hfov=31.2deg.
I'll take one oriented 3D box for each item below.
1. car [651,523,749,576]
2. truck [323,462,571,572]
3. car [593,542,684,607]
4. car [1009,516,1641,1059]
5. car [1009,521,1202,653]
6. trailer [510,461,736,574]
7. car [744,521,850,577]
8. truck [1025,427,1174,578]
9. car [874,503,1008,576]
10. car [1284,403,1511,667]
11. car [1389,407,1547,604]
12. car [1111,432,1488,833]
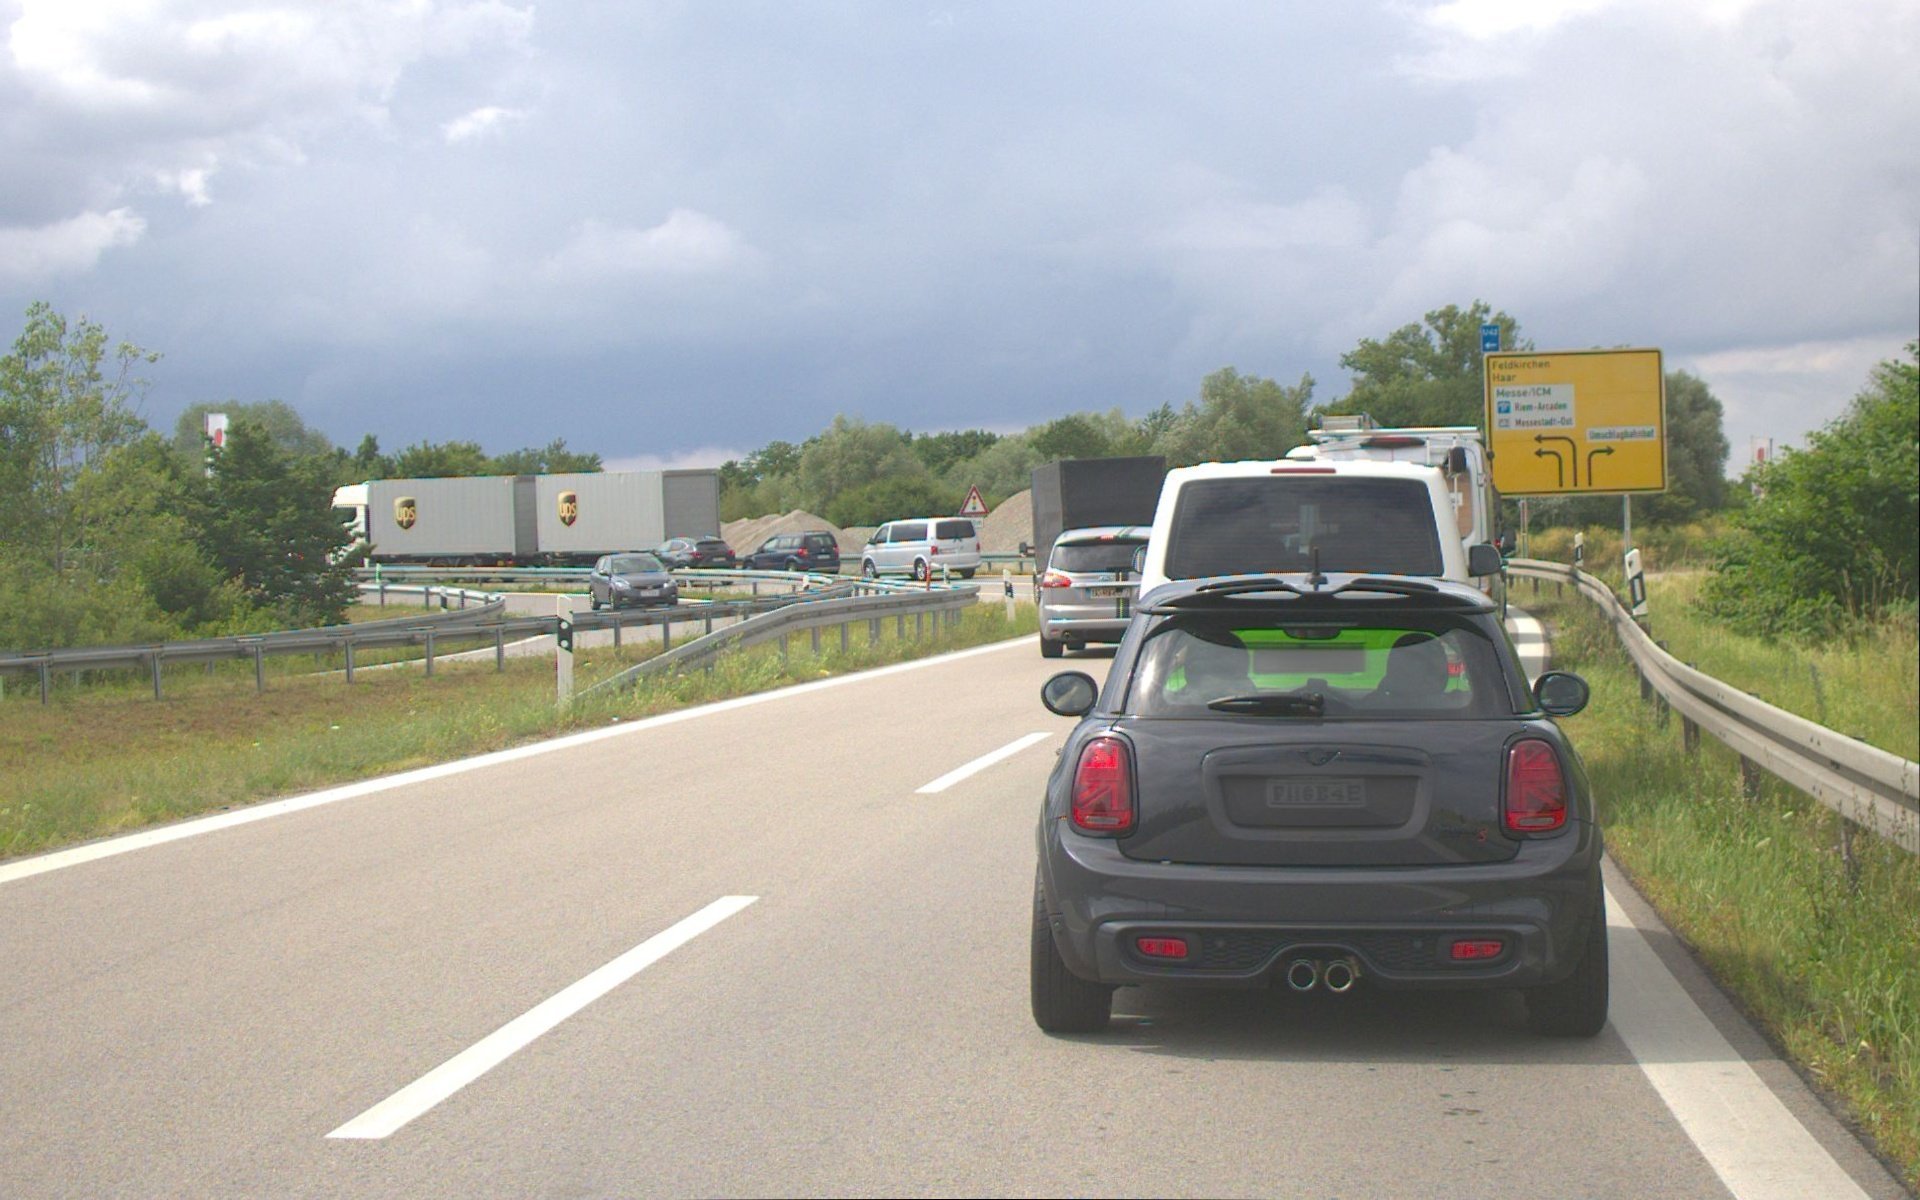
[{"bbox_3d":[-8.775,-1.690,115.906,1.812,1.750,4.000,1,0,-28],"label":"car"},{"bbox_3d":[-19.399,-3.109,129.620,10.017,3.962,2.839,1,0,35],"label":"truck"},{"bbox_3d":[-8.571,-0.673,91.430,1.759,1.587,4.001,-3,0,-14],"label":"car"},{"bbox_3d":[1.173,0.513,11.766,1.800,1.541,3.738,0,1,4],"label":"car"},{"bbox_3d":[1.935,-0.163,44.345,2.022,1.572,4.585,-1,0,8],"label":"car"},{"bbox_3d":[-12.198,-2.939,123.703,8.766,3.885,3.038,1,0,43],"label":"trailer"},{"bbox_3d":[-5.608,-1.736,117.972,1.921,1.831,4.318,1,0,-28],"label":"car"},{"bbox_3d":[3.077,-2.125,77.855,2.560,3.157,7.469,1,0,-4],"label":"truck"},{"bbox_3d":[-0.657,-1.929,110.503,2.289,2.252,5.108,1,0,-26],"label":"car"},{"bbox_3d":[4.722,-0.654,37.131,2.212,2.613,5.532,1,0,7],"label":"car"},{"bbox_3d":[8.499,-1.479,57.031,2.312,3.058,6.659,1,0,10],"label":"car"},{"bbox_3d":[2.019,0.148,19.671,1.911,2.038,4.180,0,0,8],"label":"car"}]
